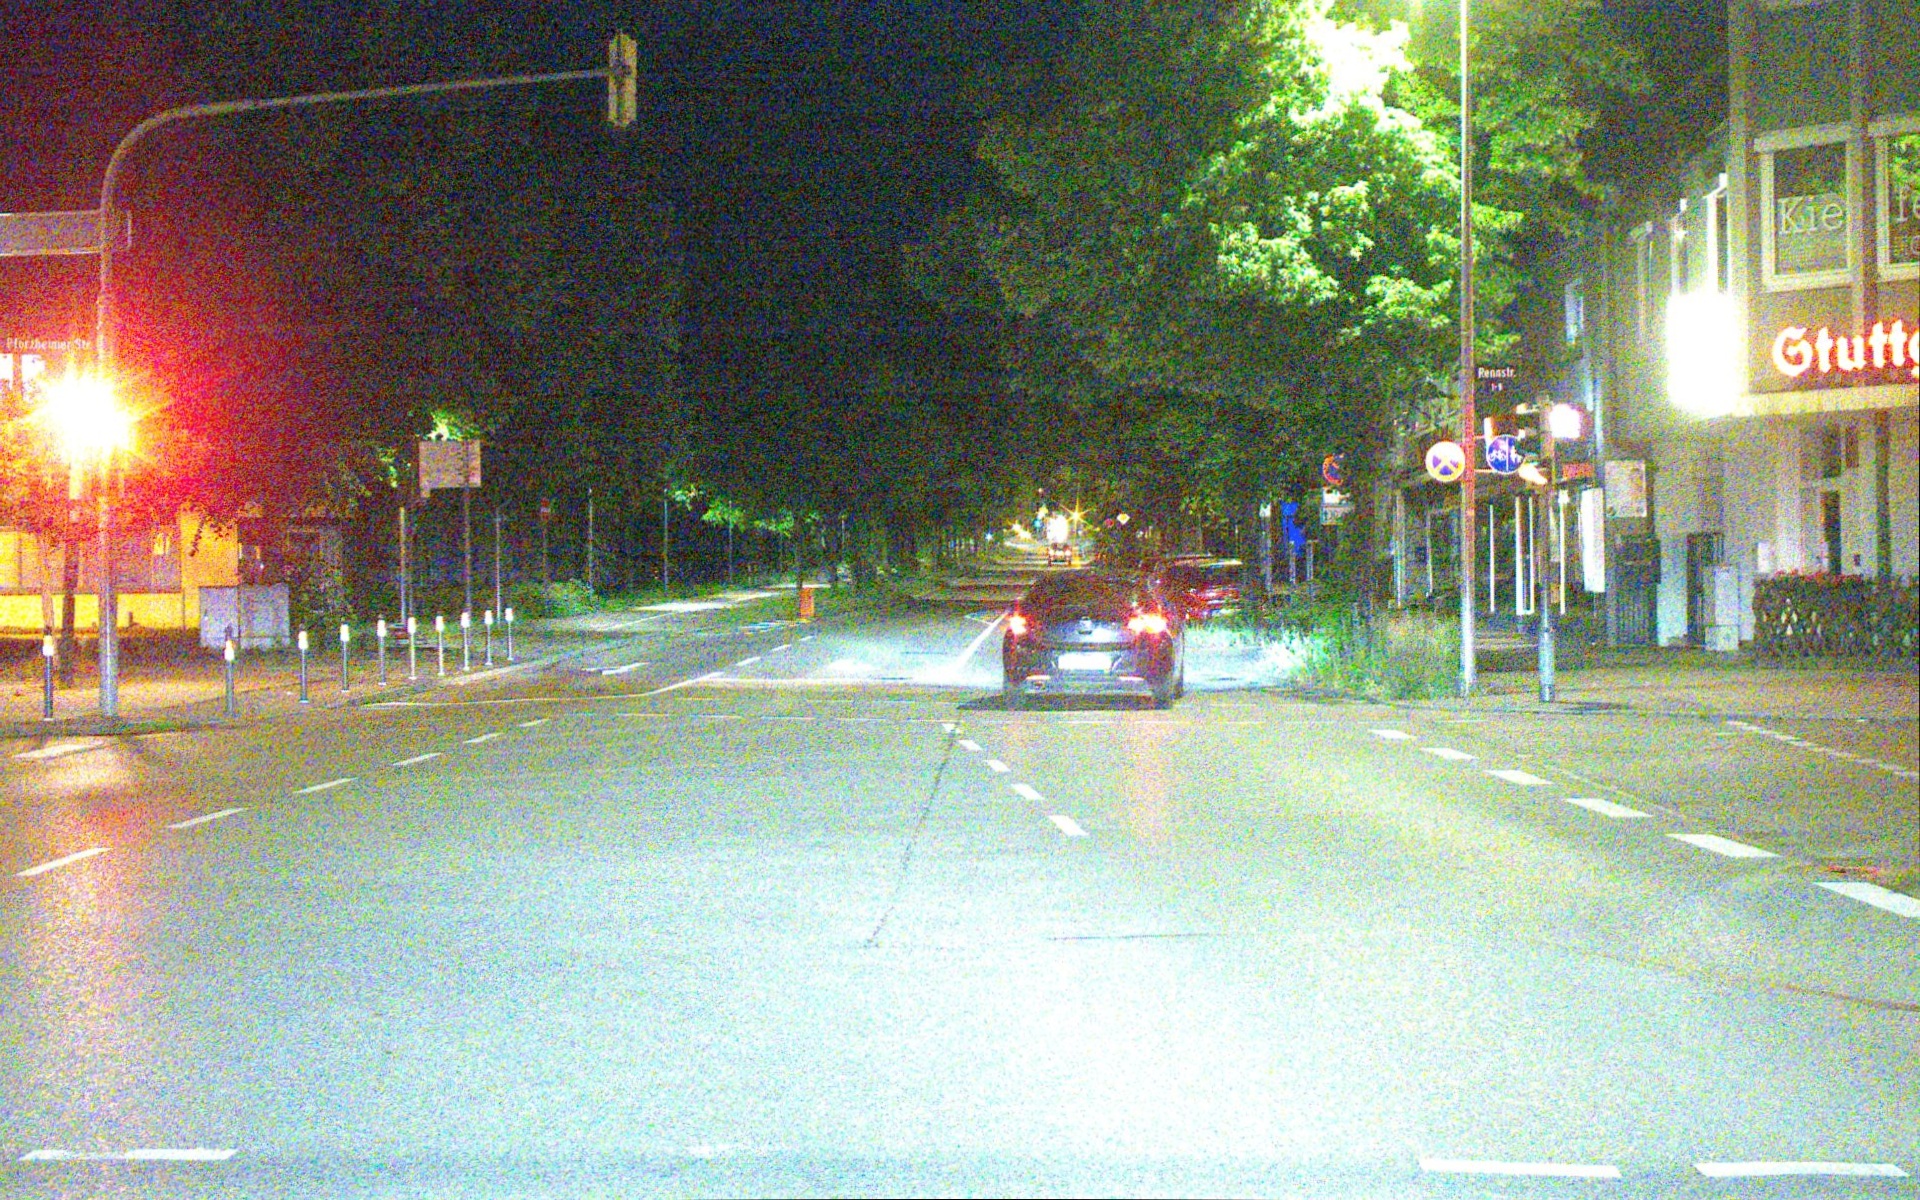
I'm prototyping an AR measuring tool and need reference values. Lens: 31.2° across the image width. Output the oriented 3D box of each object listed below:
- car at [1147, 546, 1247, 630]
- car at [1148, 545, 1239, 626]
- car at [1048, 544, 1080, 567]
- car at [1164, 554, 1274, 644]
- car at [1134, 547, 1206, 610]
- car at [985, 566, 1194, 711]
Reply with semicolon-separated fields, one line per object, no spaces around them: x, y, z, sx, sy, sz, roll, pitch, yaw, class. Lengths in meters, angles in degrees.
4.708;-0.255;68.803;1.876;1.610;4.000;0;1;2;car
5.167;-0.335;76.473;1.876;1.723;4.000;0;1;2;car
7.293;-3.124;241.276;2.227;1.645;4.000;0;1;1;car
4.751;-0.039;63.471;1.876;1.610;4.000;0;1;2;car
5.745;-0.610;94.522;1.876;1.678;4.000;0;1;2;car
1.342;0.372;37.280;1.873;1.449;4.317;1;1;-3;car
